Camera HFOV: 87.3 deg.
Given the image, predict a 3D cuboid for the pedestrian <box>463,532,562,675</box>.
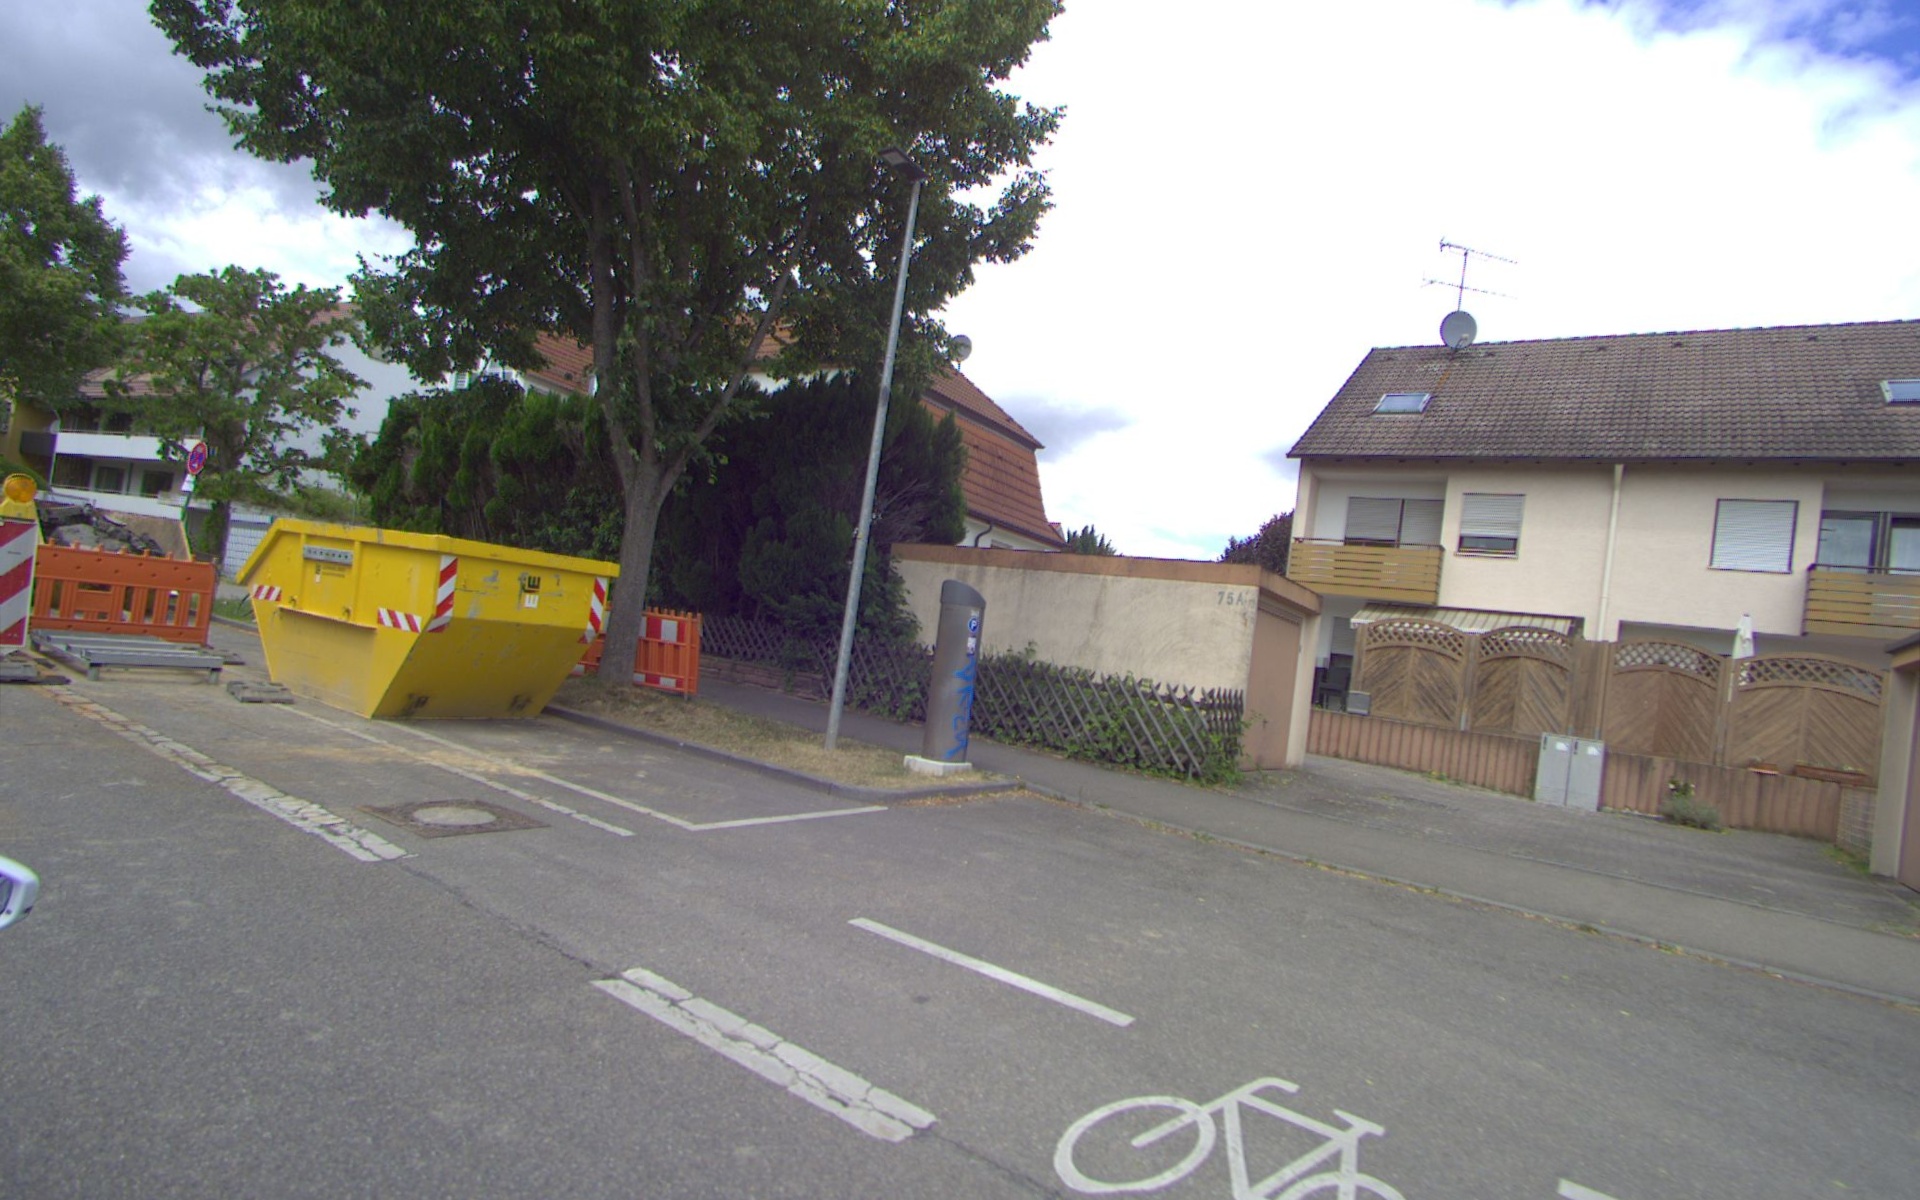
[{"bbox_3d":[-5.508,0.051,12.397,0.633,1.653,0.704,7,-1,36],"label":"pedestrian"}]
